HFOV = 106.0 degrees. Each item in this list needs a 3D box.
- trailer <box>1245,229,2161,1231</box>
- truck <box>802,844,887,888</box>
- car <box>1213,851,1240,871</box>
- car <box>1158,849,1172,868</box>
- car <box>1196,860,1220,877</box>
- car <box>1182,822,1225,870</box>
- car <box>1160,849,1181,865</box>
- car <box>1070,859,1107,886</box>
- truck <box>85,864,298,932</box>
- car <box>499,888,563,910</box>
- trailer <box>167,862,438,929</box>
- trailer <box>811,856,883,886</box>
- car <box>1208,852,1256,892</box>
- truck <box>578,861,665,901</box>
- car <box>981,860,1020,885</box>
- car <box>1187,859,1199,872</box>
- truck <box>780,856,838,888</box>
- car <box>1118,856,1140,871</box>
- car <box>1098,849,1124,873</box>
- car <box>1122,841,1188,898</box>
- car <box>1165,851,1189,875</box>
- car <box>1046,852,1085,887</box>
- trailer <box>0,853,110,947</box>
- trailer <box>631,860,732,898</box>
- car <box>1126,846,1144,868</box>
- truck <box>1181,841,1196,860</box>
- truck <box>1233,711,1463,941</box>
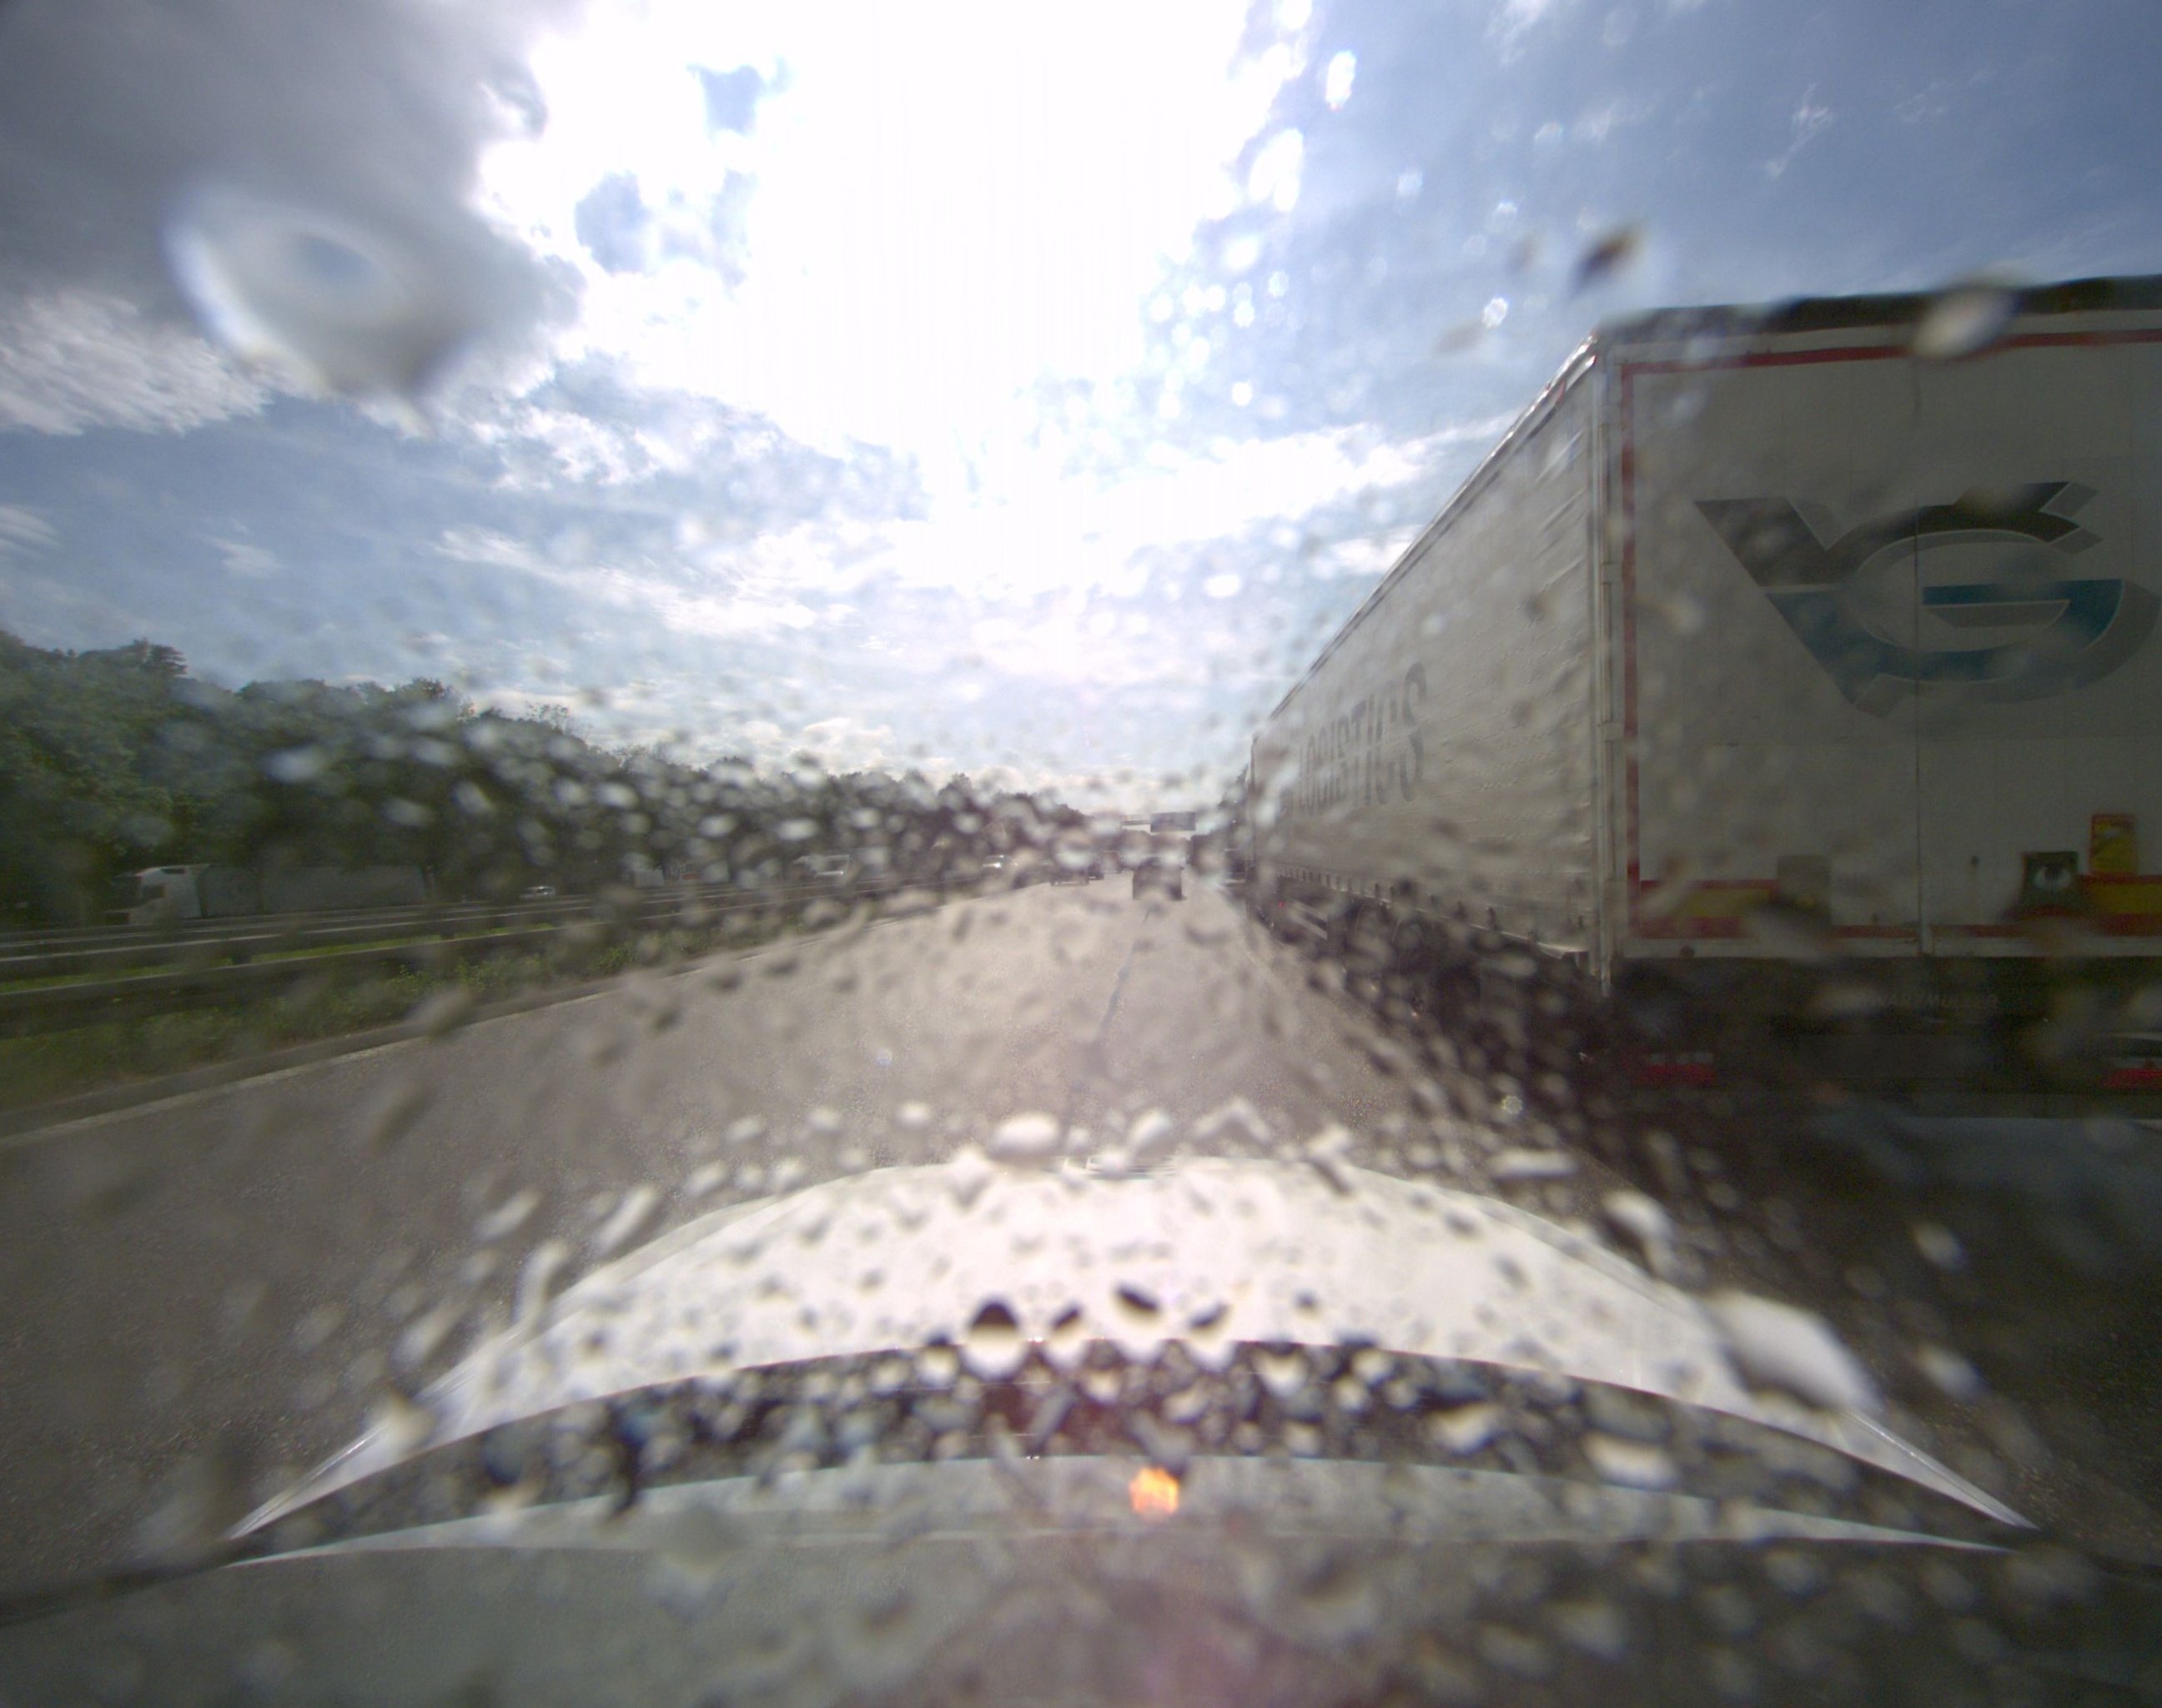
[{"bbox_3d":[4.462,-0.468,10.240,3.268,3.899,14.149,0,0,6],"label":"trailer"},{"bbox_3d":[-15.508,0.783,54.017,2.827,2.682,7.204,0,-1,7],"label":"truck"},{"bbox_3d":[11.107,0.551,62.346,1.583,1.516,3.981,0,-1,5],"label":"car"},{"bbox_3d":[12.728,0.689,122.542,1.983,2.746,5.269,0,-1,7],"label":"car"},{"bbox_3d":[11.833,1.347,76.176,1.856,1.516,3.980,0,-1,4],"label":"car"},{"bbox_3d":[16.027,-0.911,107.845,4.384,5.830,16.837,0,-1,4],"label":"car"},{"bbox_3d":[8.517,0.305,78.053,1.856,1.516,3.980,0,-1,4],"label":"car"},{"bbox_3d":[0.551,1.200,53.760,1.898,1.636,4.625,-2,-1,7],"label":"car"},{"bbox_3d":[-50.842,2.408,46.973,3.768,3.590,7.368,0,-1,7],"label":"truck"},{"bbox_3d":[-46.687,3.788,69.235,2.046,1.718,4.378,0,-1,9],"label":"car"},{"bbox_3d":[-50.017,2.465,53.433,3.768,3.649,13.372,-2,0,7],"label":"trailer"},{"bbox_3d":[-33.325,2.391,116.601,3.756,4.117,11.783,-1,-1,20],"label":"trailer"},{"bbox_3d":[7.669,0.891,41.794,1.932,1.919,5.661,0,-1,6],"label":"car"},{"bbox_3d":[-44.484,2.573,79.096,3.763,3.660,6.726,0,-1,12],"label":"truck"},{"bbox_3d":[-6.316,1.411,64.377,2.036,1.891,5.268,0,-1,6],"label":"car"},{"bbox_3d":[19.625,2.028,142.623,1.983,2.116,4.898,0,-1,7],"label":"car"},{"bbox_3d":[-36.205,2.307,108.631,3.756,4.117,7.080,-1,-1,20],"label":"truck"},{"bbox_3d":[5.109,0.981,85.930,1.983,1.565,4.765,0,-1,7],"label":"car"},{"bbox_3d":[2.727,0.648,73.024,1.968,2.054,4.765,0,-1,7],"label":"car"},{"bbox_3d":[2.762,0.573,30.572,2.263,1.954,4.827,0,-1,5],"label":"car"},{"bbox_3d":[7.586,0.697,64.675,1.684,1.805,3.981,0,-1,5],"label":"car"},{"bbox_3d":[-0.789,0.822,43.816,1.684,1.805,3.981,0,-1,5],"label":"car"},{"bbox_3d":[-52.881,2.189,35.354,3.768,4.405,13.829,-2,0,7],"label":"trailer"},{"bbox_3d":[-42.602,2.616,87.428,3.762,3.649,10.536,-2,0,13],"label":"trailer"},{"bbox_3d":[6.659,0.441,99.877,1.983,2.615,5.269,0,-1,7],"label":"car"},{"bbox_3d":[20.325,-0.628,154.175,2.760,3.632,5.928,0,-1,7],"label":"truck"},{"bbox_3d":[5.149,-0.469,17.122,3.268,3.891,6.406,0,0,5],"label":"truck"}]
